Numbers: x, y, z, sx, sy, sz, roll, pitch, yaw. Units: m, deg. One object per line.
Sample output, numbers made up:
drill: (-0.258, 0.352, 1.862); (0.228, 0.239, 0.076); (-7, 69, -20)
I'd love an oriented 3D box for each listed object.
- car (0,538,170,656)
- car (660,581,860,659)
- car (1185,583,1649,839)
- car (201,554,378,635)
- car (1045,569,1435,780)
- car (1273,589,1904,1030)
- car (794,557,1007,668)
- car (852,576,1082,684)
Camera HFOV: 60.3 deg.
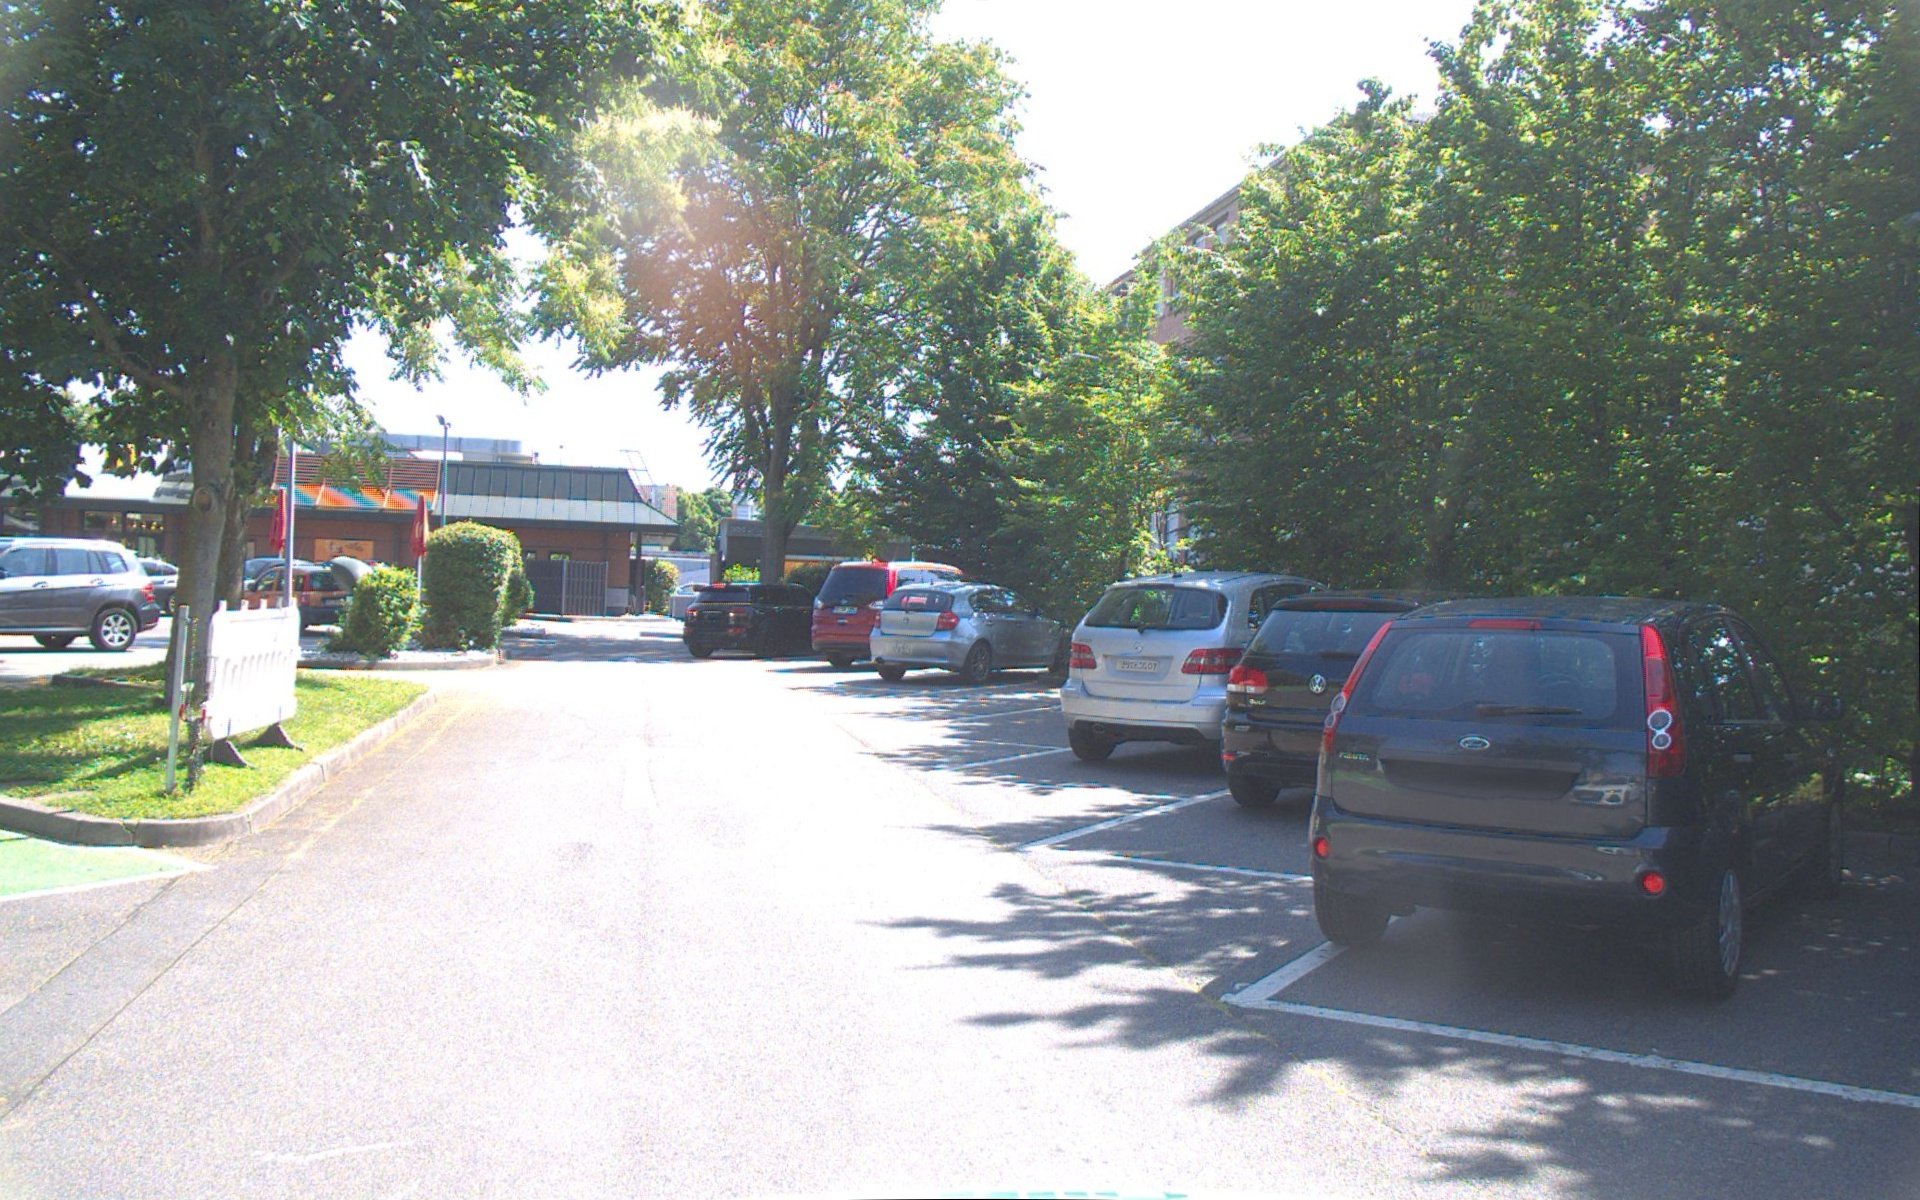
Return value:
car: (-14.569, -0.067, 25.068); (1.823, 1.715, 4.356); (2, 0, 31)
car: (-3.823, 0.377, 32.170); (1.737, 1.413, 3.989); (1, 0, 32)
car: (3.407, 0.629, 11.834); (1.741, 1.495, 3.979); (1, 1, 40)
car: (-15.740, -0.174, 38.754); (4.279, 1.715, 1.856); (2, 3, 35)
car: (2.614, 0.557, 14.737); (1.740, 1.599, 3.981); (1, 1, 38)
car: (3.124, 0.695, 7.692); (1.671, 1.478, 3.982); (1, 1, 38)
car: (-0.947, 0.193, 28.524); (1.736, 1.765, 3.990); (-1, 0, 32)
car: (0.194, 0.408, 25.197); (1.736, 1.501, 3.992); (1, 0, 30)
